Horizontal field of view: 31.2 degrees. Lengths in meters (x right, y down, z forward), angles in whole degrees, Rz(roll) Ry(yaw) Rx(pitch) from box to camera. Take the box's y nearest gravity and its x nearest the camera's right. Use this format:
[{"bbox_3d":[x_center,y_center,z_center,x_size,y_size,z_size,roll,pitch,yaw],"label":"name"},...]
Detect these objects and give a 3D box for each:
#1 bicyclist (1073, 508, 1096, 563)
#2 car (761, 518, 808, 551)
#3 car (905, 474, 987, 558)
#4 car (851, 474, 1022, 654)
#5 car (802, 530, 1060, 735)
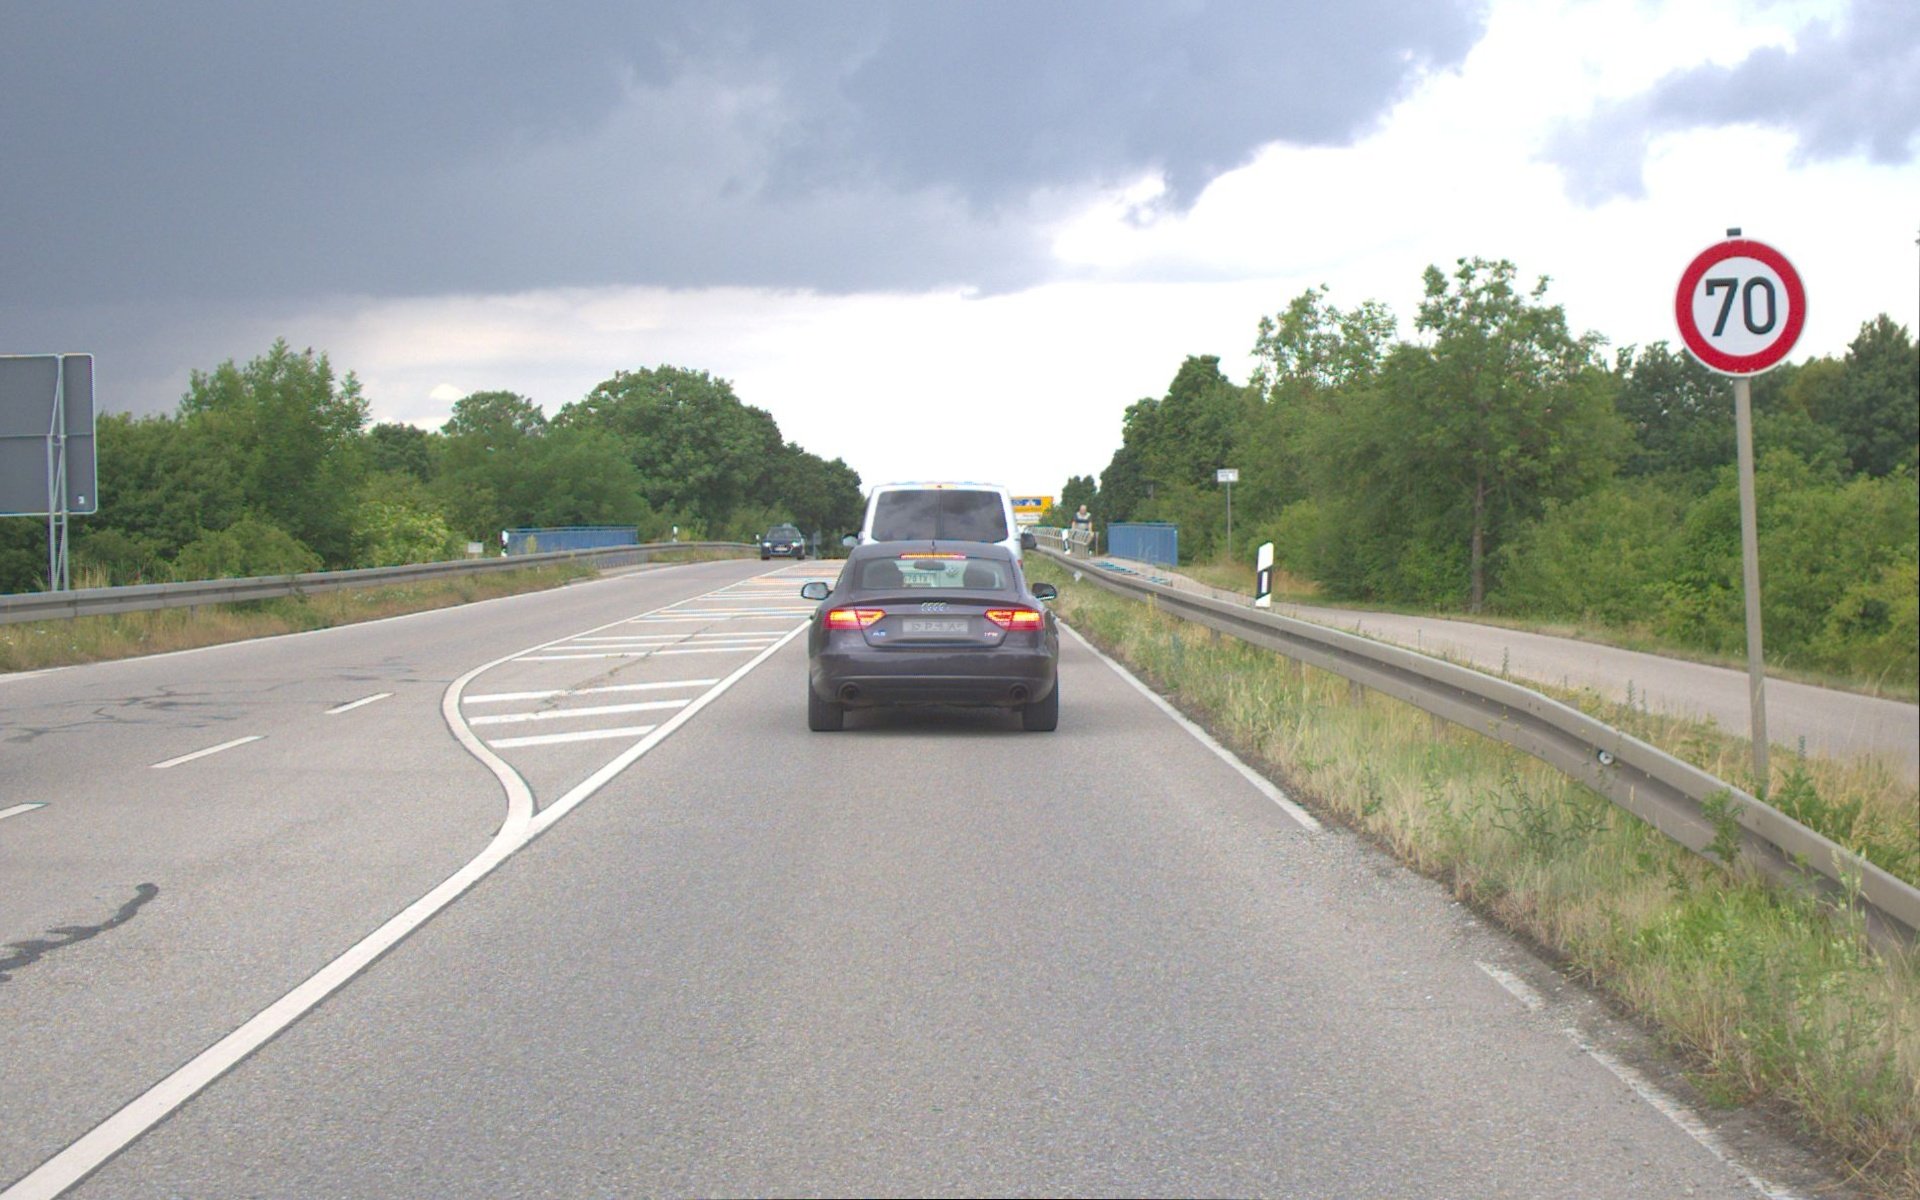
[{"bbox_3d":[3.761,-1.961,104.165,0.647,1.639,0.866,-1,1,0],"label":"bicyclist"},{"bbox_3d":[-7.459,-2.796,146.119,1.862,1.371,4.001,0,2,-1],"label":"car"},{"bbox_3d":[-0.404,-2.609,106.292,2.447,2.495,5.041,1,2,0],"label":"car"},{"bbox_3d":[-0.263,-0.407,38.283,1.786,1.883,4.000,1,1,0],"label":"car"},{"bbox_3d":[-0.213,0.198,26.011,1.786,1.419,4.000,1,1,0],"label":"car"}]
